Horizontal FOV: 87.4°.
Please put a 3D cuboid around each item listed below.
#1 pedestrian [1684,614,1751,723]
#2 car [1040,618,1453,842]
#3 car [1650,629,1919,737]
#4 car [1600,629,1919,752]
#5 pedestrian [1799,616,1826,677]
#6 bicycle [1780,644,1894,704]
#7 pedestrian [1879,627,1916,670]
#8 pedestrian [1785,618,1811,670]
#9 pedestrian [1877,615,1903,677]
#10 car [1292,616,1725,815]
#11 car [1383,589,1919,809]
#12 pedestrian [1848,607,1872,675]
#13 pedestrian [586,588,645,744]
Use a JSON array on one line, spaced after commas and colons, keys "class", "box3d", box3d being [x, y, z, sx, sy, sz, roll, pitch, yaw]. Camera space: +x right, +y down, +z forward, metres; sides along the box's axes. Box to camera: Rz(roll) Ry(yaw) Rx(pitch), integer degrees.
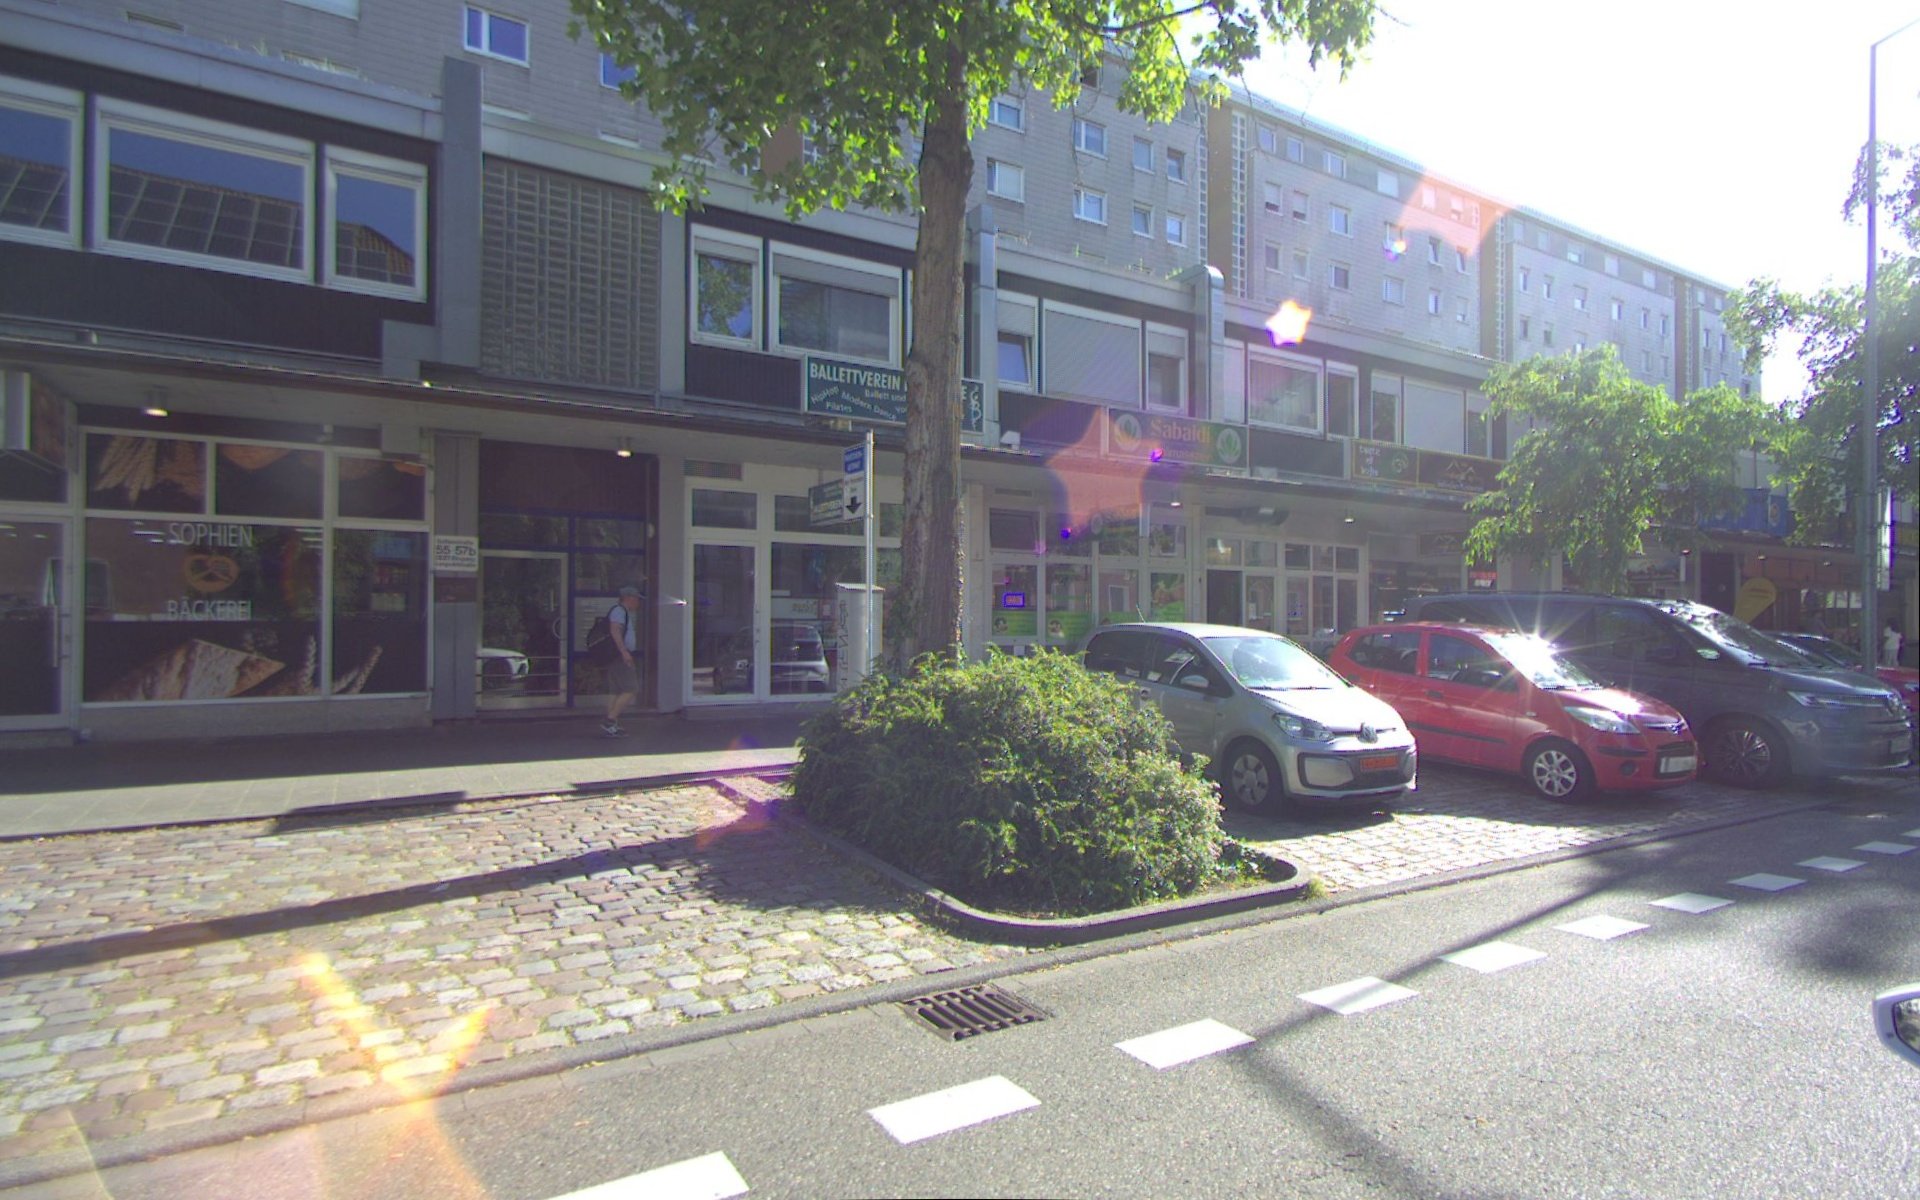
[{"class": "pedestrian", "box3d": [12.297, 1.106, 16.312, 0.622, 1.735, 0.581, 0, -1, -3]}, {"class": "car", "box3d": [2.441, 0.998, 9.367, 1.653, 1.582, 3.569, 1, 0, -30]}, {"class": "car", "box3d": [13.791, 1.258, 16.334, 1.690, 1.470, 3.897, 1, 0, -31]}, {"class": "car", "box3d": [11.839, 1.224, 14.898, 1.596, 1.470, 3.644, 1, 0, -33]}, {"class": "pedestrian", "box3d": [25.363, 1.379, 29.885, 0.423, 1.806, 0.482, 1, -2, -34]}, {"class": "bicycle", "box3d": [18.693, 1.549, 21.457, 0.615, 1.132, 1.712, 1, 0, -27]}, {"class": "pedestrian", "box3d": [30.107, 1.561, 32.267, 0.696, 1.348, 0.718, 1, 0, -34]}, {"class": "pedestrian", "box3d": [24.267, 1.274, 29.095, 0.416, 1.492, 0.465, 1, -2, -34]}, {"class": "pedestrian", "box3d": [26.361, 1.301, 28.468, 0.496, 1.728, 0.389, 1, 0, -30]}, {"class": "car", "box3d": [5.348, 0.986, 10.227, 1.643, 1.575, 3.539, 1, 0, -31]}, {"class": "car", "box3d": [7.663, 0.892, 11.609, 1.851, 1.964, 5.005, 1, 0, -31]}, {"class": "pedestrian", "box3d": [26.146, 1.190, 29.182, 0.357, 1.960, 0.389, 1, 0, -30]}, {"class": "pedestrian", "box3d": [-3.831, 0.722, 11.162, 0.527, 1.687, 0.441, 1, -2, -31]}]
